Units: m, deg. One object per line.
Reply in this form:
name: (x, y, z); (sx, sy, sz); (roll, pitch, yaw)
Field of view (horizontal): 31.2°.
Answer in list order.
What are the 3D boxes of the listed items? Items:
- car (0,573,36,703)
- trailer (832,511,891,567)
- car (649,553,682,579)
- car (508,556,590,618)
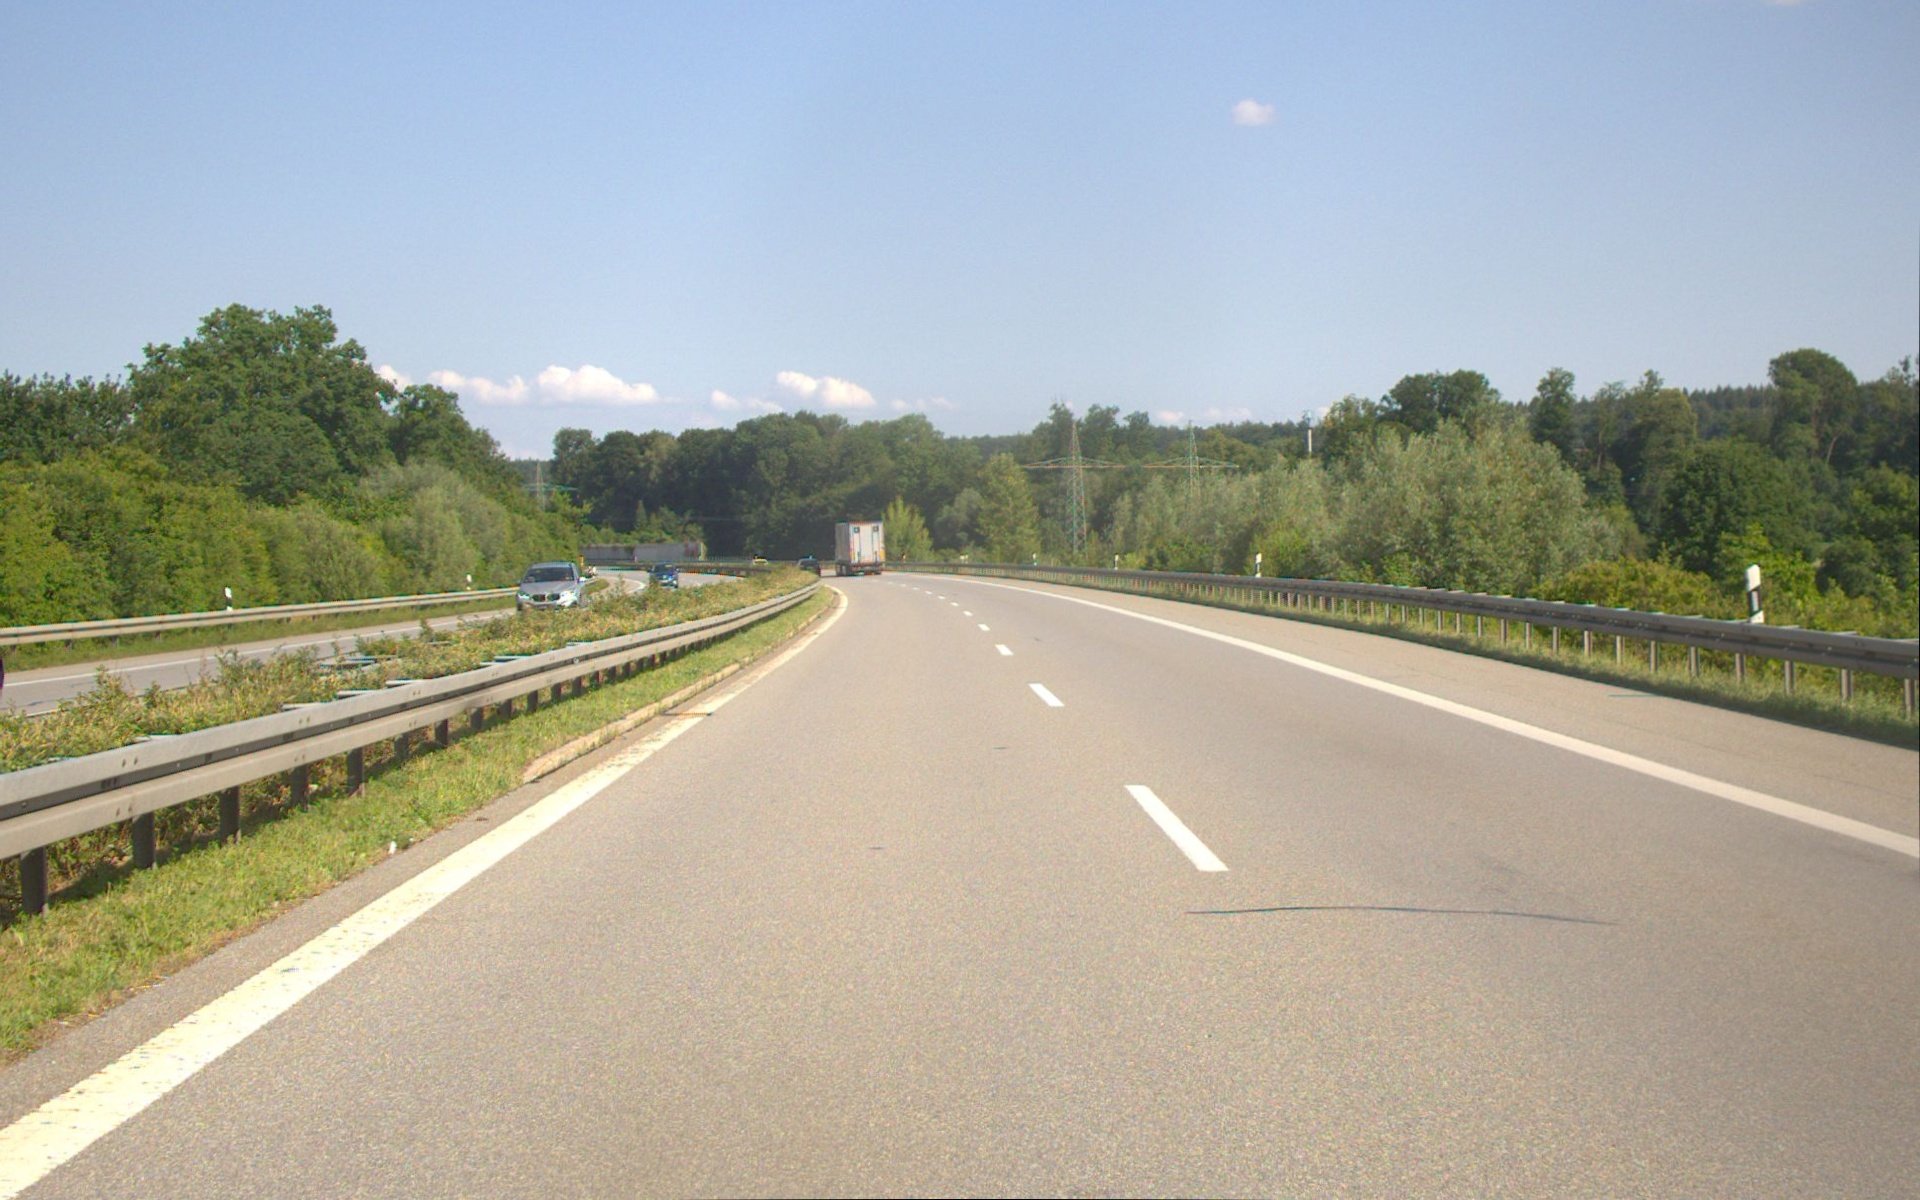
car: (-11.691, 0.471, 37.734); (1.739, 1.440, 4.768); (-1, 1, 0)
trailer: (-7.592, -4.682, 262.402); (2.884, 4.052, 12.423); (-3, 1, -8)
car: (-17.106, -1.988, 199.685); (1.676, 1.436, 4.001); (-3, 1, -2)
car: (-11.625, -0.391, 97.403); (1.909, 1.583, 4.918); (-2, 1, -3)
